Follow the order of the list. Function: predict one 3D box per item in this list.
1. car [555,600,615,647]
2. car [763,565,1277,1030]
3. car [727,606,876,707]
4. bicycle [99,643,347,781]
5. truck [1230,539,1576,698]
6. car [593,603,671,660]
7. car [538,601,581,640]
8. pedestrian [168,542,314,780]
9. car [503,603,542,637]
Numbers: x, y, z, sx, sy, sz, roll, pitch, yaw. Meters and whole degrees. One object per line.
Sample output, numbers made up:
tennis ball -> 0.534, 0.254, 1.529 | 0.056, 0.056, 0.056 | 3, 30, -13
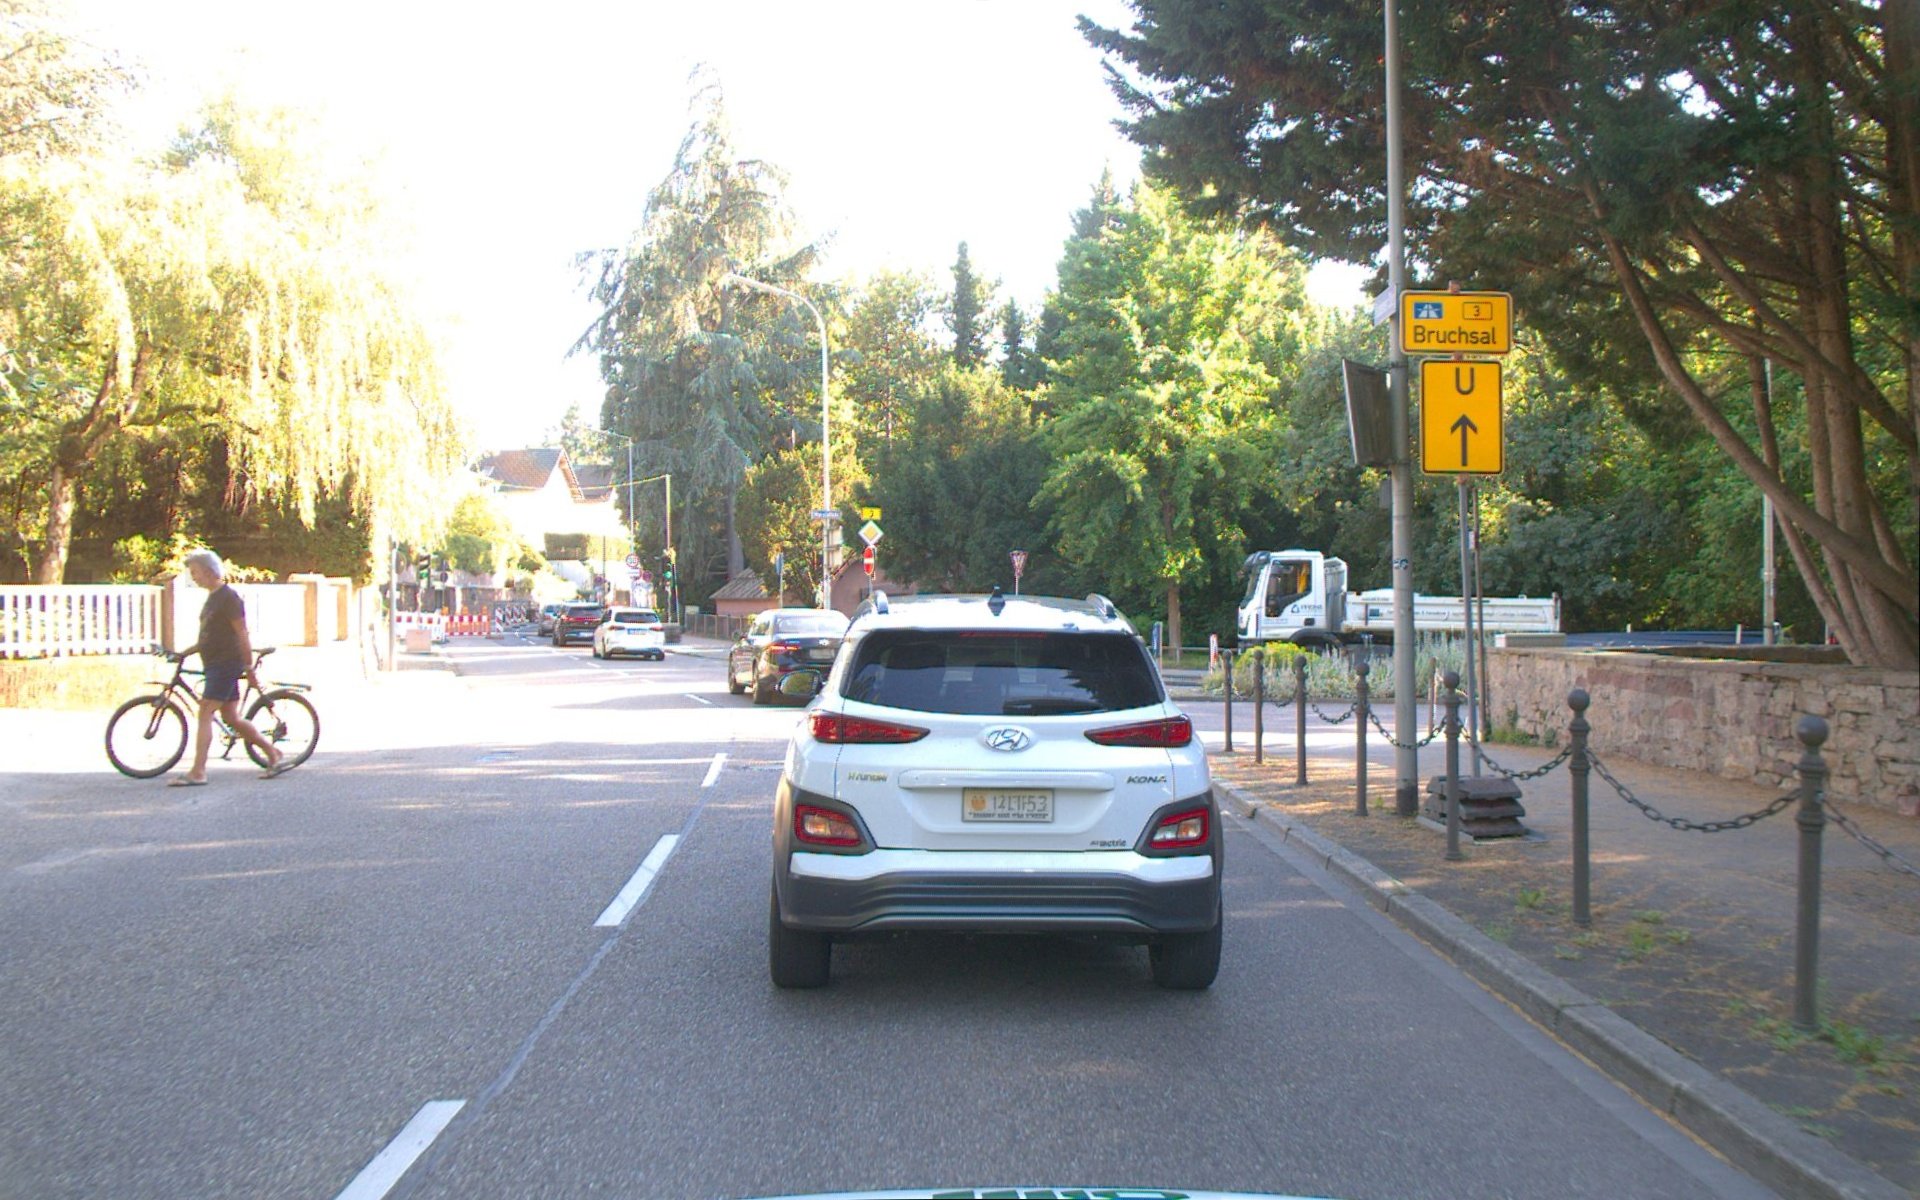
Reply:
car -> -14.289, 0.881, 62.893 | 1.803, 1.691, 3.979 | 2, 0, -18
car -> 0.189, 0.710, 7.856 | 1.783, 1.601, 3.999 | 1, 0, -1
car -> -2.637, 0.851, 26.651 | 1.679, 1.459, 4.348 | 2, 0, -15
bicycle -> -6.139, 0.912, 13.830 | 1.799, 1.061, 0.554 | 2, 1, -38
truck -> 8.905, 0.363, 33.810 | 6.448, 2.945, 2.434 | 1, -1, 4
car -> -9.793, 0.911, 49.176 | 1.778, 1.564, 3.979 | 2, 0, -18
car -> -18.891, 0.943, 77.904 | 1.802, 1.771, 3.982 | 2, 0, -16
pedestrian -> -5.823, 0.480, 13.404 | 0.934, 1.858, 0.547 | 2, 0, -39
car -> -23.191, 1.035, 87.671 | 1.803, 1.691, 3.980 | 1, 0, -17
